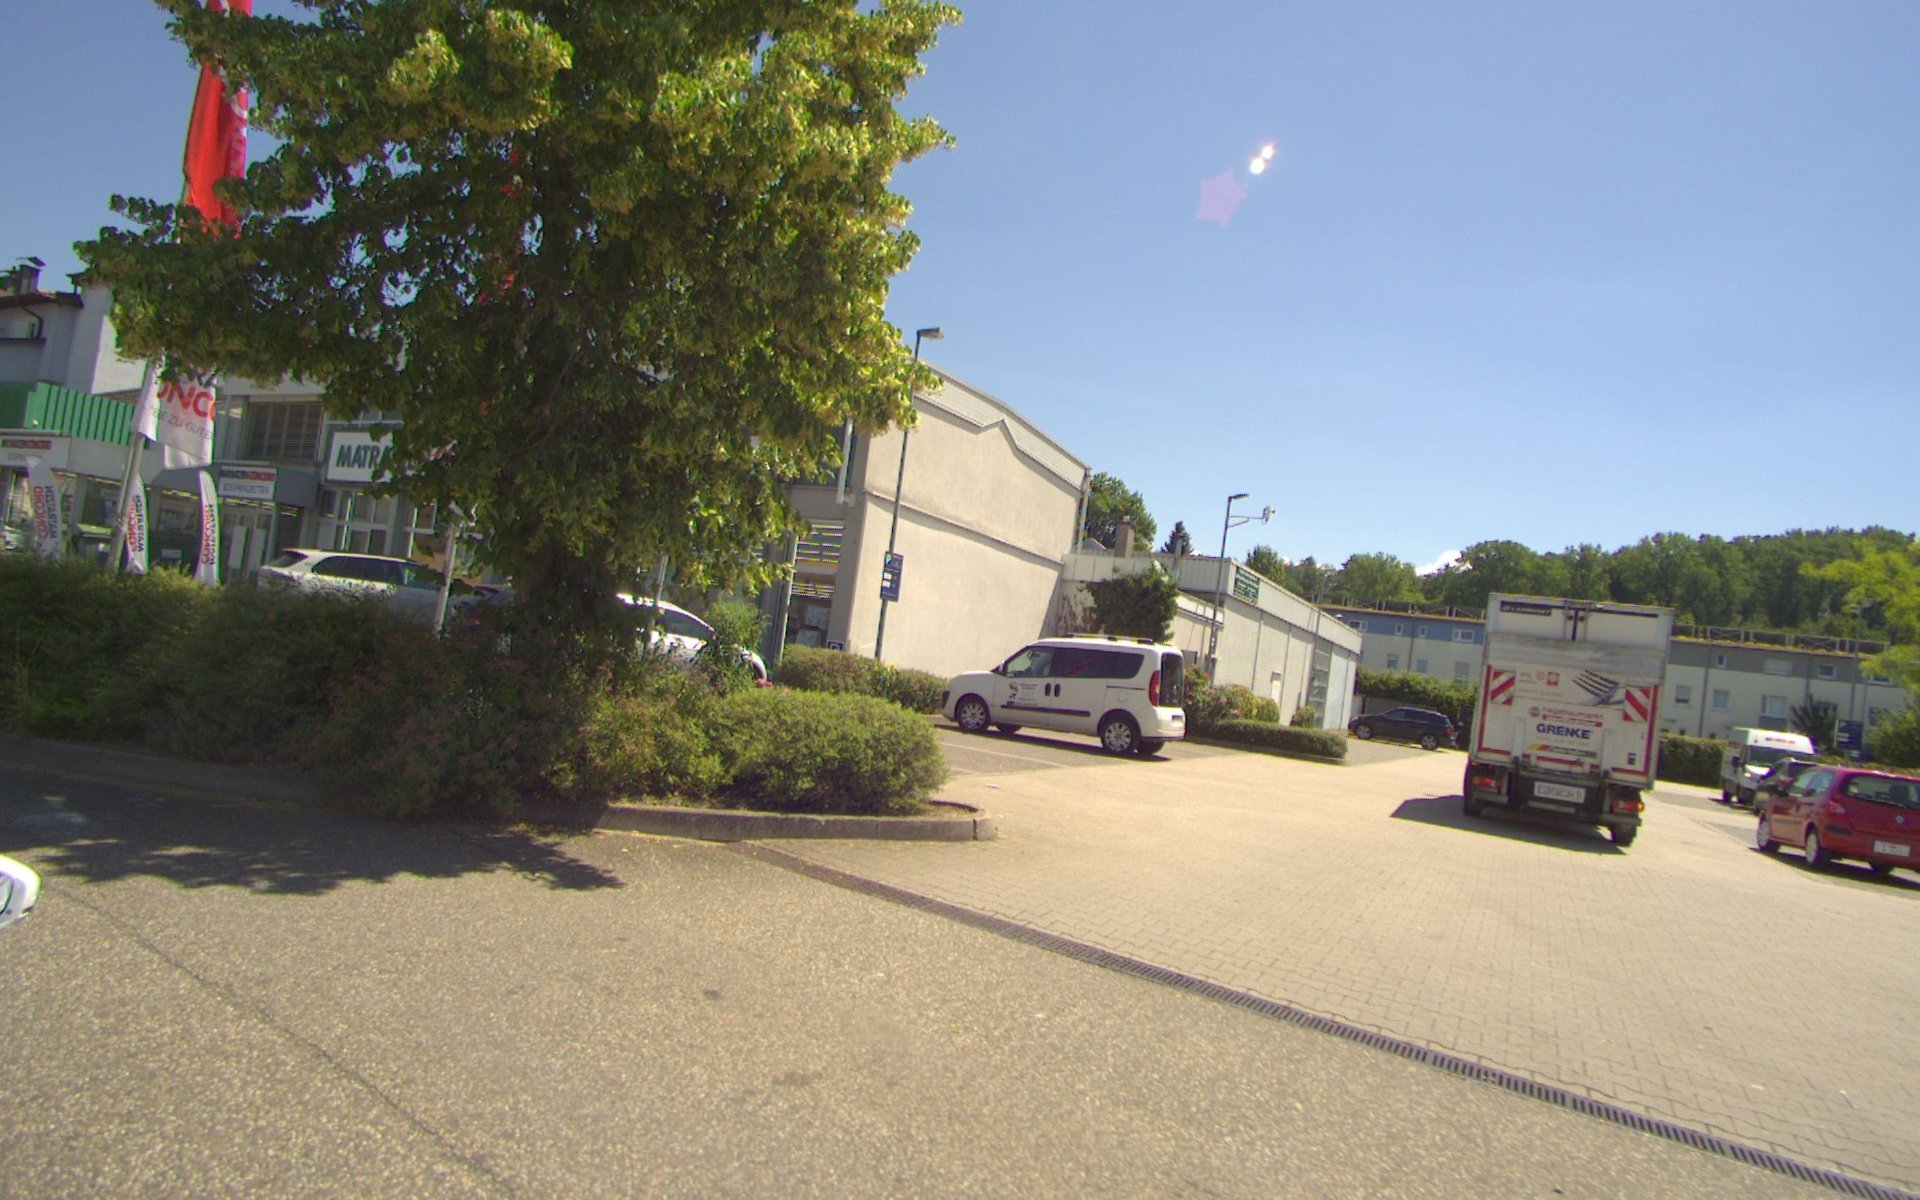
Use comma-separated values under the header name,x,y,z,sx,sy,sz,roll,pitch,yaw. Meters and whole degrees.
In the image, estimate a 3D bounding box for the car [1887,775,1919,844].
name,x,y,z,sx,sy,sz,roll,pitch,yaw
car,25.667,5.561,26.070,1.722,1.578,3.757,6,-2,34

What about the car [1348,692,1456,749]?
name,x,y,z,sx,sy,sz,roll,pitch,yaw
car,20.966,5.691,47.772,4.279,2.037,1.997,6,-2,32

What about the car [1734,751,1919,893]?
name,x,y,z,sx,sy,sz,roll,pitch,yaw
car,13.167,3.220,15.000,1.623,1.548,4.002,7,-3,26

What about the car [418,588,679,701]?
name,x,y,z,sx,sy,sz,roll,pitch,yaw
car,-7.211,0.831,17.874,1.657,1.551,3.847,6,-2,44

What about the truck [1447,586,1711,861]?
name,x,y,z,sx,sy,sz,roll,pitch,yaw
truck,8.726,1.747,14.862,2.379,2.981,5.957,6,-3,25

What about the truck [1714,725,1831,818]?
name,x,y,z,sx,sy,sz,roll,pitch,yaw
truck,26.863,5.603,33.462,2.143,2.484,5.481,6,-3,32

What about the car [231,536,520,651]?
name,x,y,z,sx,sy,sz,roll,pitch,yaw
car,-11.628,-0.080,20.230,4.572,1.661,1.975,9,-2,-45

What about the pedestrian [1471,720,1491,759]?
name,x,y,z,sx,sy,sz,roll,pitch,yaw
pedestrian,24.708,6.581,47.675,0.669,1.736,0.706,7,-1,29

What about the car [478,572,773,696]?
name,x,y,z,sx,sy,sz,roll,pitch,yaw
car,-5.187,0.597,15.991,1.781,1.477,3.983,6,-2,42

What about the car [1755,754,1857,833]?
name,x,y,z,sx,sy,sz,roll,pitch,yaw
car,23.081,5.214,27.558,1.626,1.668,3.866,6,-2,35

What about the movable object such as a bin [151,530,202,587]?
name,x,y,z,sx,sy,sz,roll,pitch,yaw
movable object such as a bin,-21.894,-1.153,28.117,0.691,1.463,0.853,6,1,34

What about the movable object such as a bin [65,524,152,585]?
name,x,y,z,sx,sy,sz,roll,pitch,yaw
movable object such as a bin,-22.718,-1.196,26.858,0.691,1.441,1.564,7,1,33

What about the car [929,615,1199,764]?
name,x,y,z,sx,sy,sz,roll,pitch,yaw
car,1.793,1.507,17.569,4.182,1.912,1.710,6,-2,28
